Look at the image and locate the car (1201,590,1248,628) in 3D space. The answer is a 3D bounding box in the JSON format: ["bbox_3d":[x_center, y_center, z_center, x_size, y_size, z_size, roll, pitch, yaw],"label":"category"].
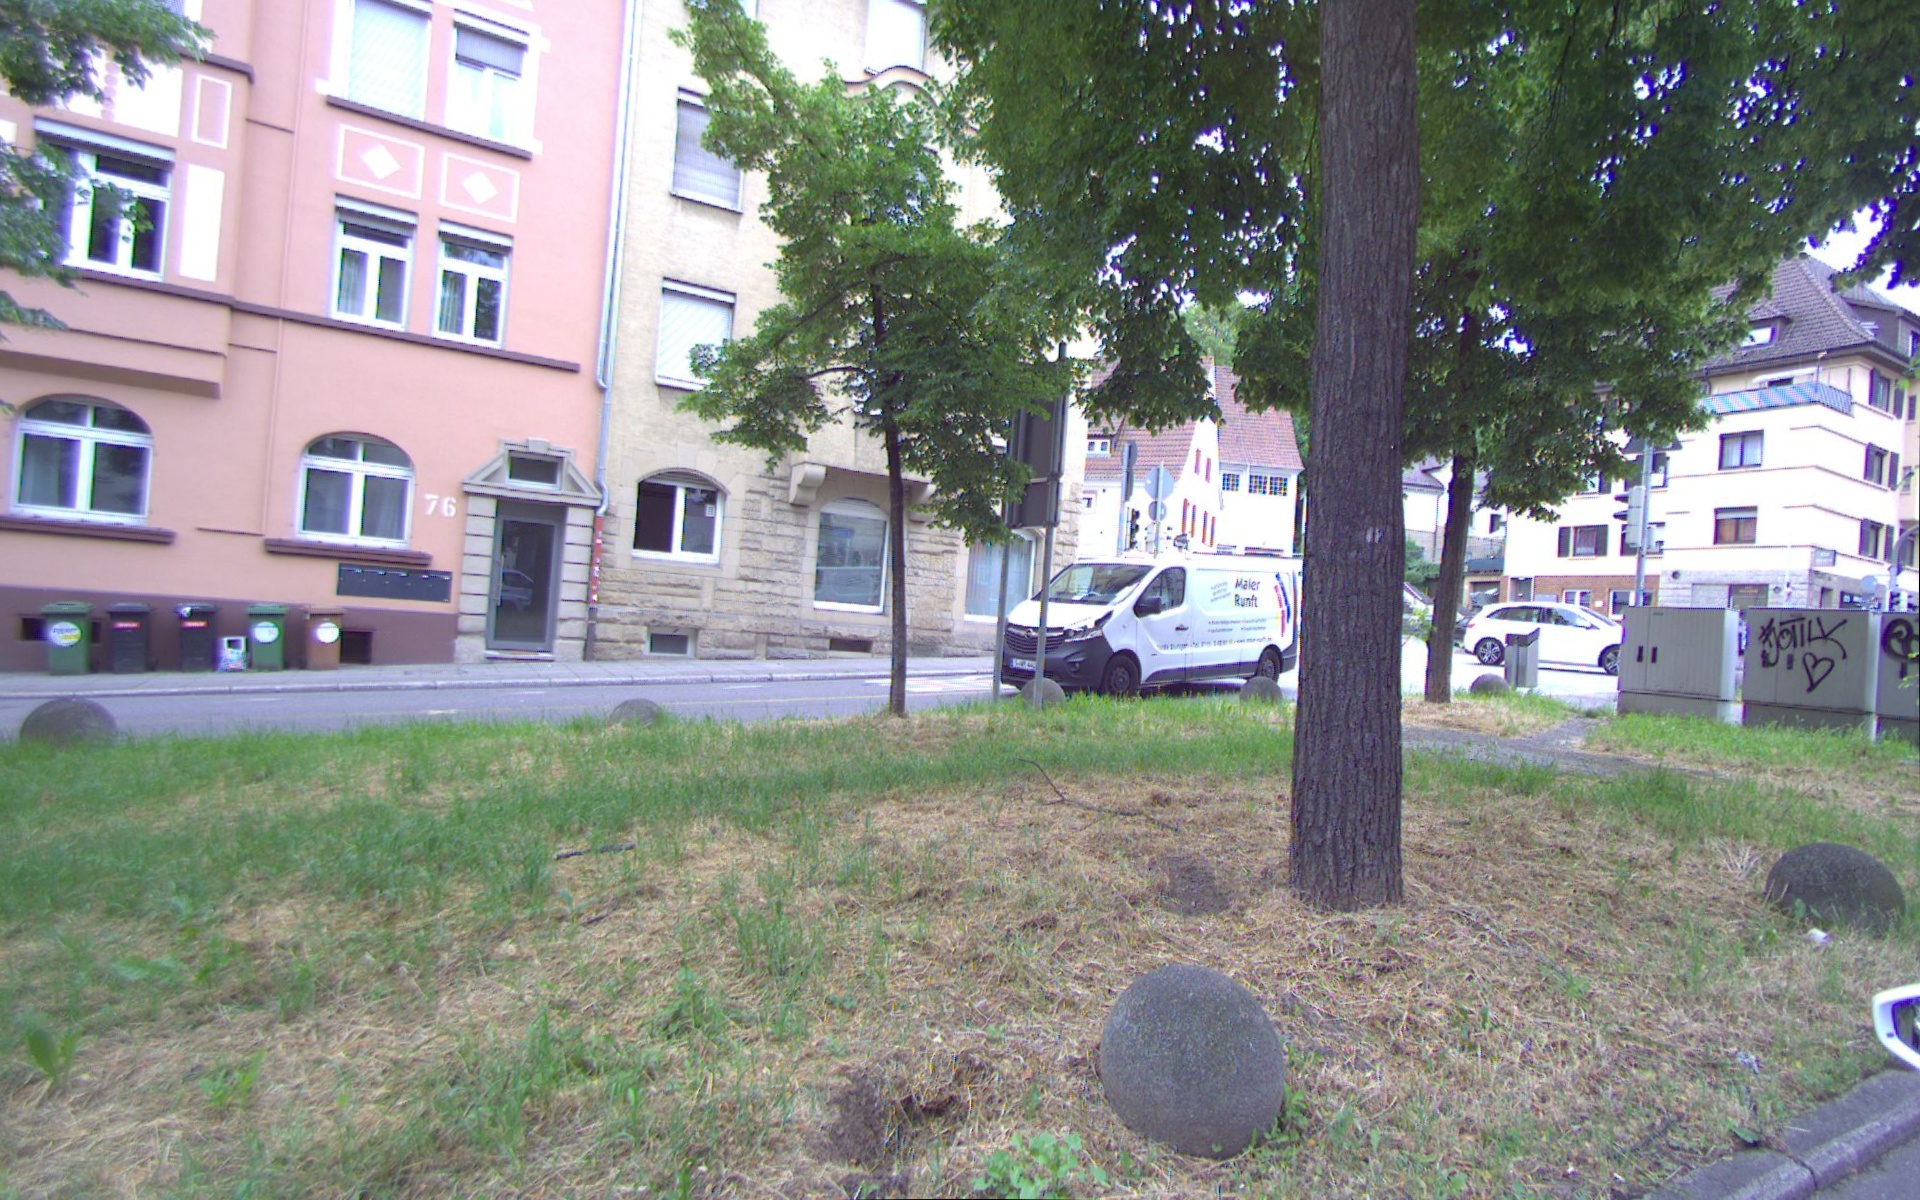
[{"bbox_3d":[11.760,0.372,44.800,1.638,1.424,3.058,7,3,11],"label":"car"}]

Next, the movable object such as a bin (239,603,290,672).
[{"bbox_3d":[-9.839,0.519,14.223,0.554,0.934,0.649,2,0,-34],"label":"movable object such as a bin"}]

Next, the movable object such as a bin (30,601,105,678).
[{"bbox_3d":[-11.660,0.509,13.143,0.611,0.961,0.613,2,0,-31],"label":"movable object such as a bin"}]

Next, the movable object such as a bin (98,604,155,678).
[{"bbox_3d":[-11.165,0.545,13.476,0.528,0.958,0.576,2,0,-36],"label":"movable object such as a bin"}]

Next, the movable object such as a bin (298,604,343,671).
[{"bbox_3d":[-9.277,0.538,14.572,0.510,0.934,0.752,2,0,-34],"label":"movable object such as a bin"}]

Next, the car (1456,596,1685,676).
[{"bbox_3d":[14.106,0.787,23.406,1.676,1.615,4.216,2,0,-39],"label":"car"}]

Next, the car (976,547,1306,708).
[{"bbox_3d":[2.840,0.341,14.805,5.267,1.971,1.975,1,1,-42],"label":"car"}]
